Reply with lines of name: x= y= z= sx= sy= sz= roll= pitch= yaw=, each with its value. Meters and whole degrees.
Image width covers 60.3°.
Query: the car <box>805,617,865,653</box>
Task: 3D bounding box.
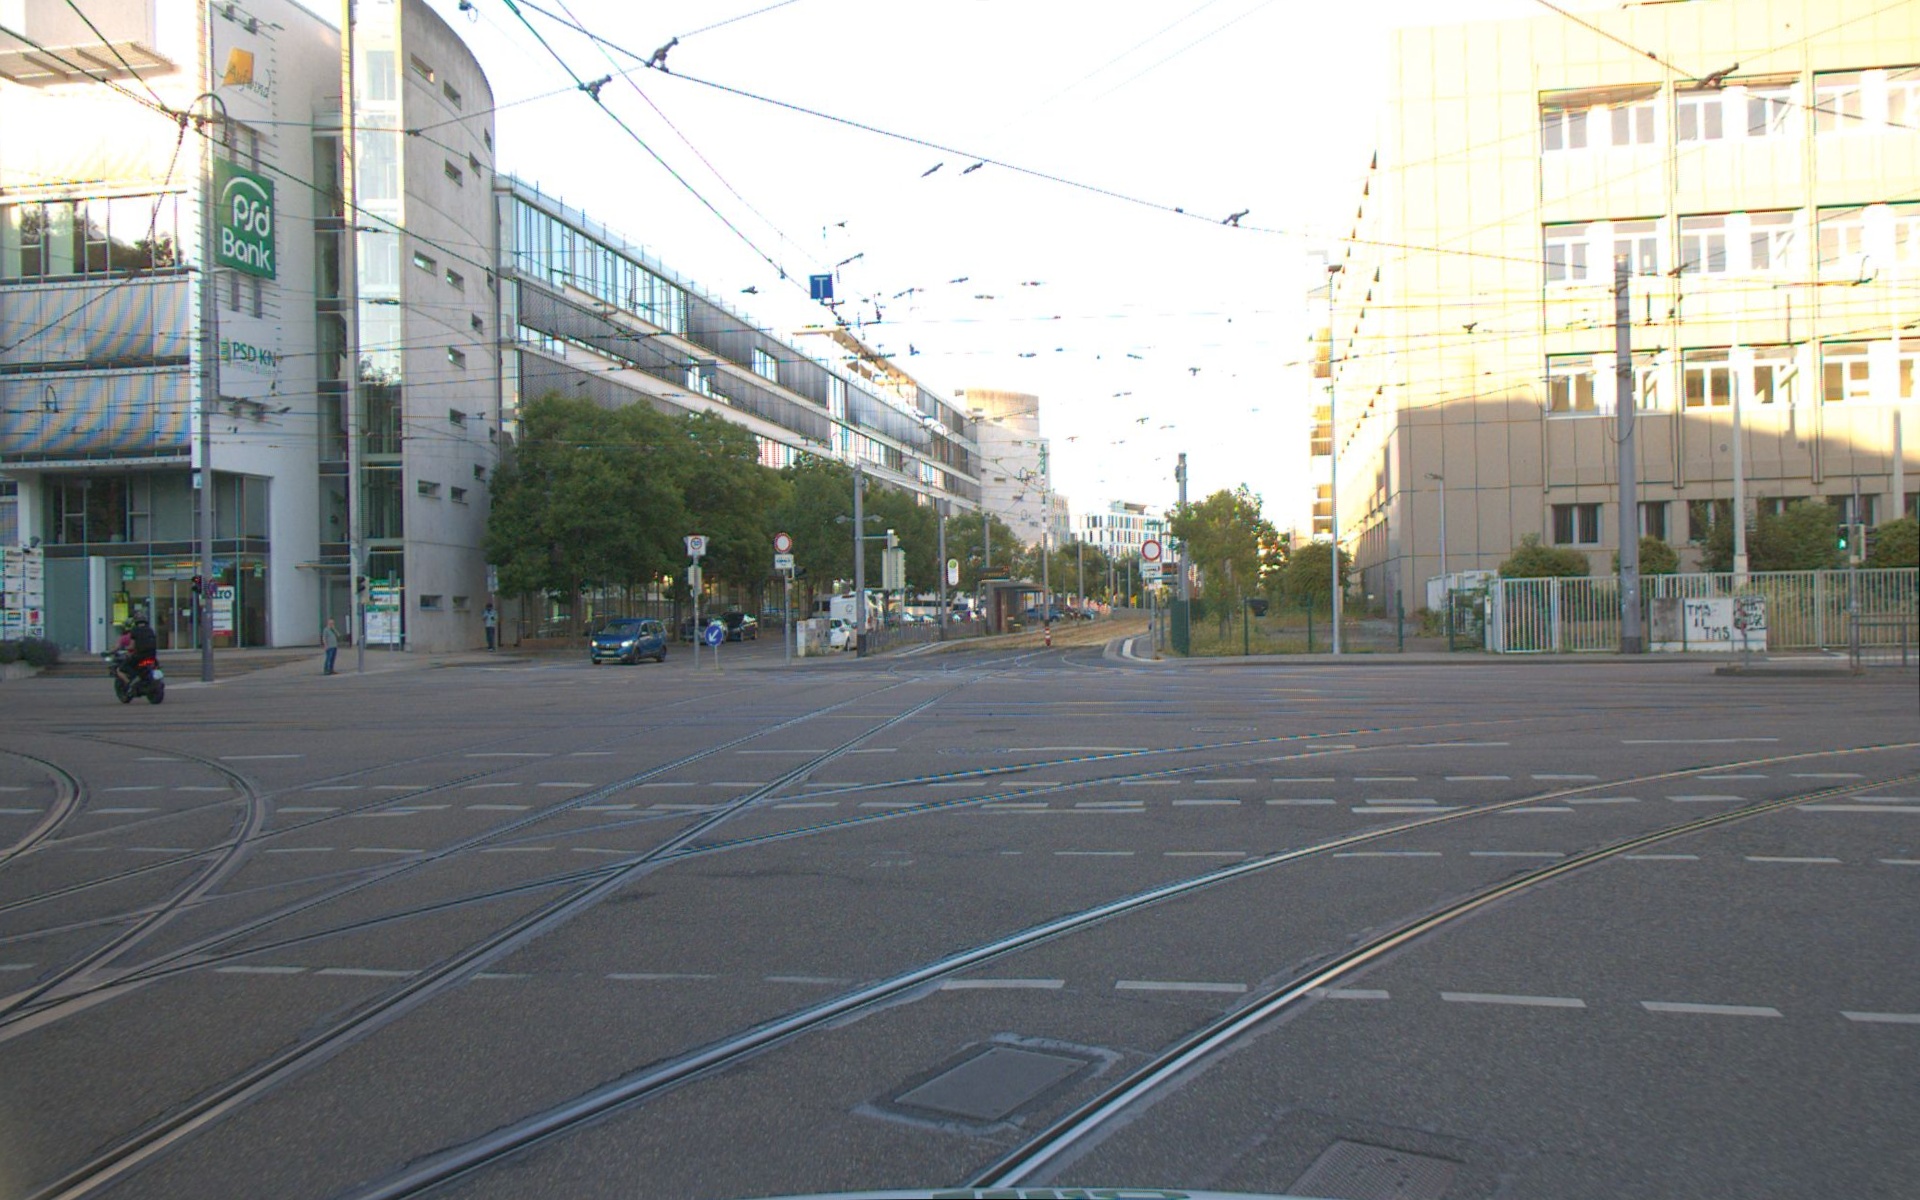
car: x=-5.438 y=1.496 z=72.386 sx=1.647 sy=1.464 sz=4.129 roll=-1 pitch=0 yaw=10

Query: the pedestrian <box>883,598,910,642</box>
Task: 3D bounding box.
pedestrian: x=-3.025 y=0.965 z=78.929 sx=1.023 sy=2.066 sz=0.979 roll=-1 pitch=-1 yaw=-18

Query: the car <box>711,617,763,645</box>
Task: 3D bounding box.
car: x=-12.537 y=1.726 z=93.357 sx=1.647 sy=1.528 sz=4.243 roll=-1 pitch=0 yaw=10

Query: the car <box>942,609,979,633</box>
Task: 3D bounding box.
car: x=0.040 y=1.300 z=105.186 sx=1.647 sy=1.464 sz=4.129 roll=-1 pitch=0 yaw=10

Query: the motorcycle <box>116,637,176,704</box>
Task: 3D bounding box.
motorcycle: x=-16.236 y=1.384 z=32.955 sx=0.820 sy=1.262 sz=2.463 roll=-1 pitch=-1 yaw=-32

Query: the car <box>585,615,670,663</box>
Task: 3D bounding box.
car: x=-12.574 y=1.445 z=62.766 sx=1.647 sy=1.729 sz=4.243 roll=-1 pitch=0 yaw=11

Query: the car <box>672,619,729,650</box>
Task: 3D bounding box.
car: x=-13.671 y=1.791 z=87.432 sx=1.647 sy=1.528 sz=4.243 roll=-1 pitch=0 yaw=10

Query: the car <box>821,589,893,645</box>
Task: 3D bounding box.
car: x=-4.805 y=0.789 z=78.217 sx=2.409 sy=2.526 sz=5.812 roll=-1 pitch=0 yaw=6

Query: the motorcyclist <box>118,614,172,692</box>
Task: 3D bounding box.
motorcyclist: x=-16.259 y=1.041 z=32.978 sx=0.820 sy=1.499 sz=1.193 roll=-1 pitch=-1 yaw=-33

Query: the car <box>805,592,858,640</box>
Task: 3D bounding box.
car: x=-8.915 y=1.078 z=115.216 sx=2.154 sy=3.207 sz=6.148 roll=-1 pitch=0 yaw=10

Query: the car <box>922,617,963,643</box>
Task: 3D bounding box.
car: x=-1.000 y=1.753 z=97.196 sx=1.647 sy=1.464 sz=4.129 roll=-1 pitch=0 yaw=10

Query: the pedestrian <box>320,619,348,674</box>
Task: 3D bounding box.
pedestrian: x=-20.183 y=1.495 z=53.348 sx=0.535 sy=1.741 sz=0.660 roll=-1 pitch=-1 yaw=19

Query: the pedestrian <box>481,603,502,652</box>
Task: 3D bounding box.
pedestrian: x=-19.209 y=1.131 z=67.835 sx=0.648 sy=1.956 sz=0.548 roll=-2 pitch=-1 yaw=-1
